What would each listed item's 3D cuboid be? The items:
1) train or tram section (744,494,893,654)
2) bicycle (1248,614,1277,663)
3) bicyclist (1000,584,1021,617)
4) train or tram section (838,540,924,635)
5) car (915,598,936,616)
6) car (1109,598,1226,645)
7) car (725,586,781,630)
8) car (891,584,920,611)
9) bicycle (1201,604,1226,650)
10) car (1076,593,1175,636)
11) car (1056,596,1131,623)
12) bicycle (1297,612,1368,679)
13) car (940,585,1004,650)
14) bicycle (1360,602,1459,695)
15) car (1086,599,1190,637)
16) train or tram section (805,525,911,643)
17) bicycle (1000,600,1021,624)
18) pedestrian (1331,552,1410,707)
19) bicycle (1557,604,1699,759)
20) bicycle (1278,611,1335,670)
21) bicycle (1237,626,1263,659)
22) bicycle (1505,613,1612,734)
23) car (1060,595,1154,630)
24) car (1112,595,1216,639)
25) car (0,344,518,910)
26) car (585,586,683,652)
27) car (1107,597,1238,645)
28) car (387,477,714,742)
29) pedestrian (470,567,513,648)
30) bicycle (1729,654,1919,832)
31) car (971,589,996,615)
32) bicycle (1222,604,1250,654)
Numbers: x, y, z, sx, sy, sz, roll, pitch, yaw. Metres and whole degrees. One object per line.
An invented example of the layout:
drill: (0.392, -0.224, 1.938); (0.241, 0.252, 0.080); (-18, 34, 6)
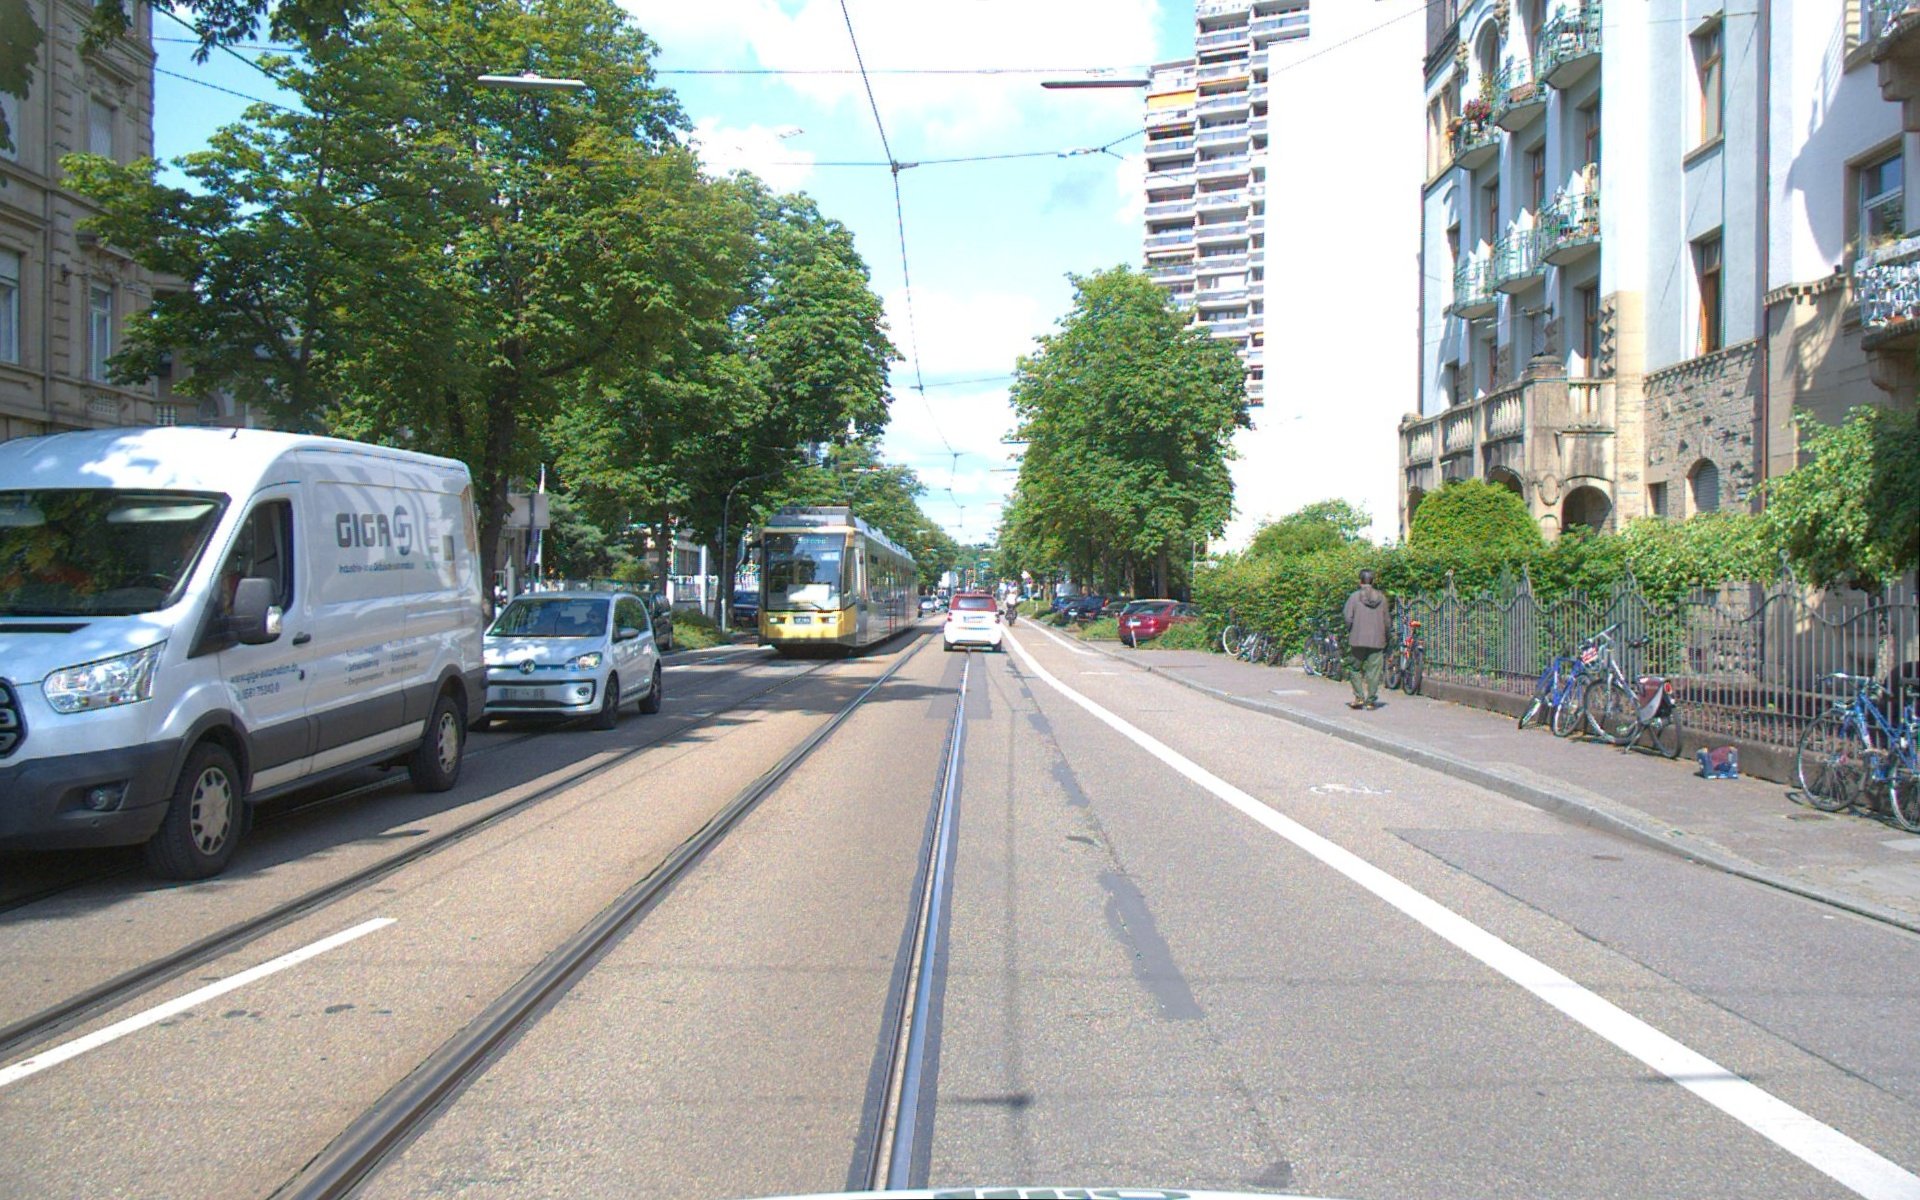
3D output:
train or tram section: (-3.407, -0.549, 43.121); (2.598, 3.496, 12.315); (-1, 0, 1)
bicycle: (6.319, 0.802, 34.560); (0.268, 0.922, 1.668); (-3, 2, 0)
bicyclist: (2.511, 0.027, 82.126); (0.871, 1.555, 1.086); (2, 0, 7)
train or tram section: (-3.045, -0.423, 67.622); (2.598, 3.414, 14.109); (-1, 0, 1)
car: (-2.985, 0.593, 144.825); (1.737, 1.441, 3.852); (-2, 0, 0)
car: (6.903, 0.711, 54.796); (3.966, 1.474, 1.673); (1, 0, -42)
car: (-8.544, 0.334, 68.534); (1.714, 1.694, 4.720); (2, 0, 0)
car: (-3.679, -0.144, 111.977); (1.788, 1.757, 4.391); (2, 0, 0)
bicycle: (6.415, 0.671, 41.866); (0.273, 1.128, 2.011); (-3, 0, 0)
car: (6.804, 0.605, 67.840); (3.965, 1.602, 1.877); (2, 0, -42)
car: (7.630, 0.564, 94.338); (4.198, 1.445, 1.701); (1, 1, -38)
bicycle: (6.083, 0.724, 27.121); (0.598, 1.013, 2.362); (-2, 0, 0)
car: (0.345, 0.464, 45.249); (1.631, 1.653, 3.621); (2, 0, 1)
bicycle: (6.391, 0.659, 23.651); (0.725, 1.252, 2.516); (0, 0, 0)
car: (7.019, 0.727, 64.901); (4.144, 1.373, 1.874); (2, 0, -45)
train or tram section: (-3.192, -0.450, 54.927); (2.598, 3.448, 11.473); (-1, 0, 1)
bicycle: (2.506, 0.604, 82.073); (0.856, 1.145, 2.137); (2, 0, 6)
pedestrian: (5.141, 0.358, 20.743); (0.772, 1.894, 0.579); (-1, 0, -6)
bicycle: (6.022, 0.692, 15.006); (0.442, 1.283, 1.843); (-2, 0, -2)
bicycle: (6.175, 0.709, 29.521); (0.600, 1.006, 1.872); (-2, 0, 0)
bicycle: (6.388, 0.923, 36.434); (0.273, 0.689, 1.559); (-3, 0, 0)
bicycle: (6.178, 0.728, 17.158); (0.441, 1.142, 1.844); (-2, 0, 1)
car: (6.947, 0.612, 77.785); (1.998, 1.467, 4.503); (2, -1, 45)
car: (7.205, 0.602, 58.185); (1.510, 1.486, 3.971); (1, 0, 44)
car: (-4.886, 0.068, 10.646); (2.268, 2.551, 6.365); (0, 1, 1)
car: (-8.875, 0.503, 45.300); (1.770, 1.670, 4.331); (2, 0, 0)
car: (6.656, 0.632, 51.623); (4.125, 1.448, 1.838); (0, 0, -42)
car: (-4.417, 0.077, 19.126); (2.269, 2.551, 6.362); (0, 0, -1)
pedestrian: (-12.206, 0.192, 43.120); (0.807, 2.049, 0.825); (2, -1, 0)
bicycle: (6.174, 0.923, 10.933); (0.587, 0.977, 3.065); (-3, 0, -2)
car: (1.496, 0.134, 106.427); (1.631, 1.653, 3.621); (0, 0, 0)
bicycle: (6.397, 0.655, 38.347); (0.273, 1.128, 2.011); (-3, 0, 0)
